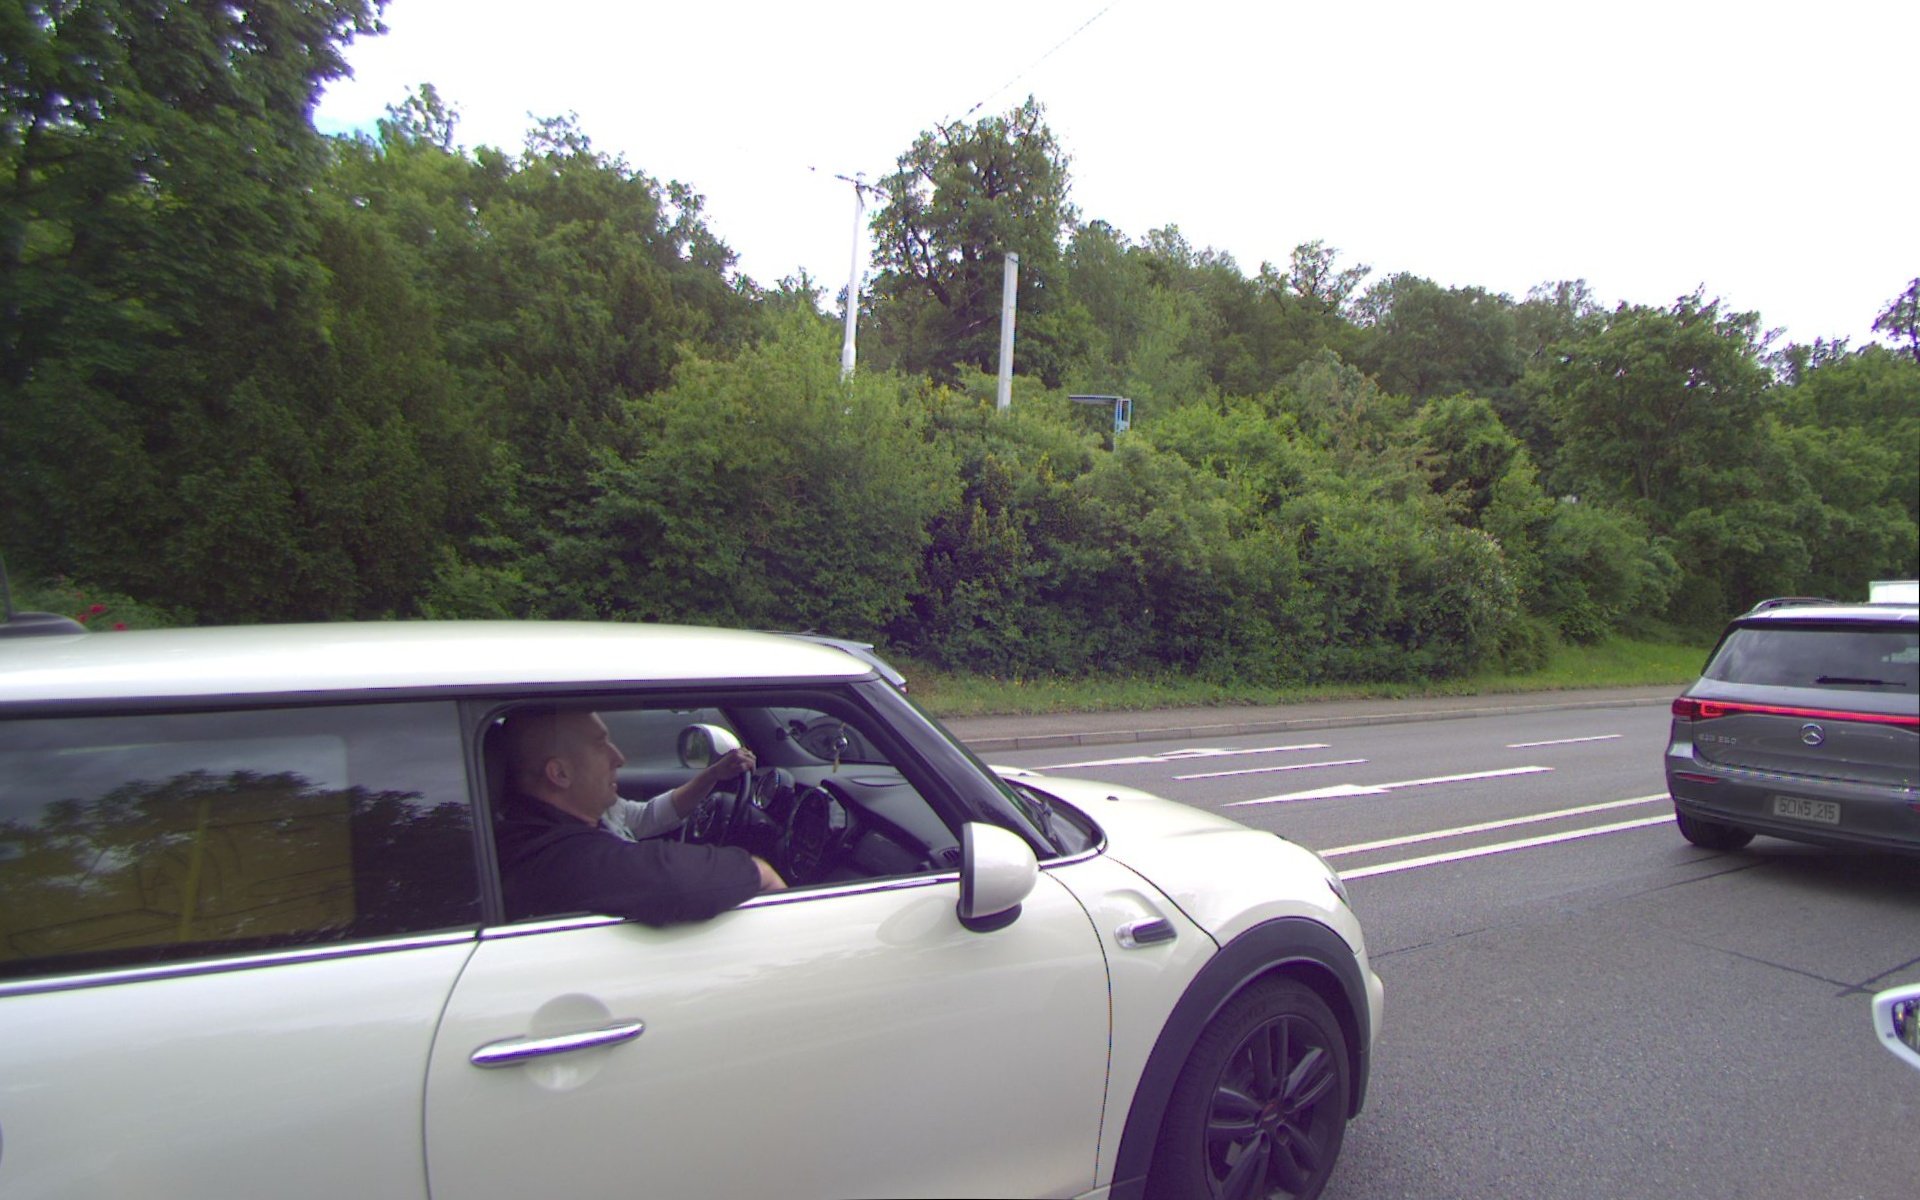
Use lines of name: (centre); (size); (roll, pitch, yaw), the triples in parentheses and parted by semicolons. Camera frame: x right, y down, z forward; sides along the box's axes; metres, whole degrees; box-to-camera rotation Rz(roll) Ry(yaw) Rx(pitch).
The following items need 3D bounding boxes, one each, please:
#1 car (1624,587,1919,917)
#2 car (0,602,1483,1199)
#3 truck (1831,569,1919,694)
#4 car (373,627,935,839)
car: (6.464, 0.823, 6.649); (4.309, 1.673, 1.839); (2, -1, -32)
car: (-0.623, 0.757, 2.385); (3.691, 1.443, 1.675); (2, -1, -32)
truck: (26.323, 0.897, 27.180); (6.903, 3.091, 2.280); (2, -2, -33)
car: (-2.489, 0.964, 8.558); (4.310, 1.413, 1.671); (2, -2, -31)
